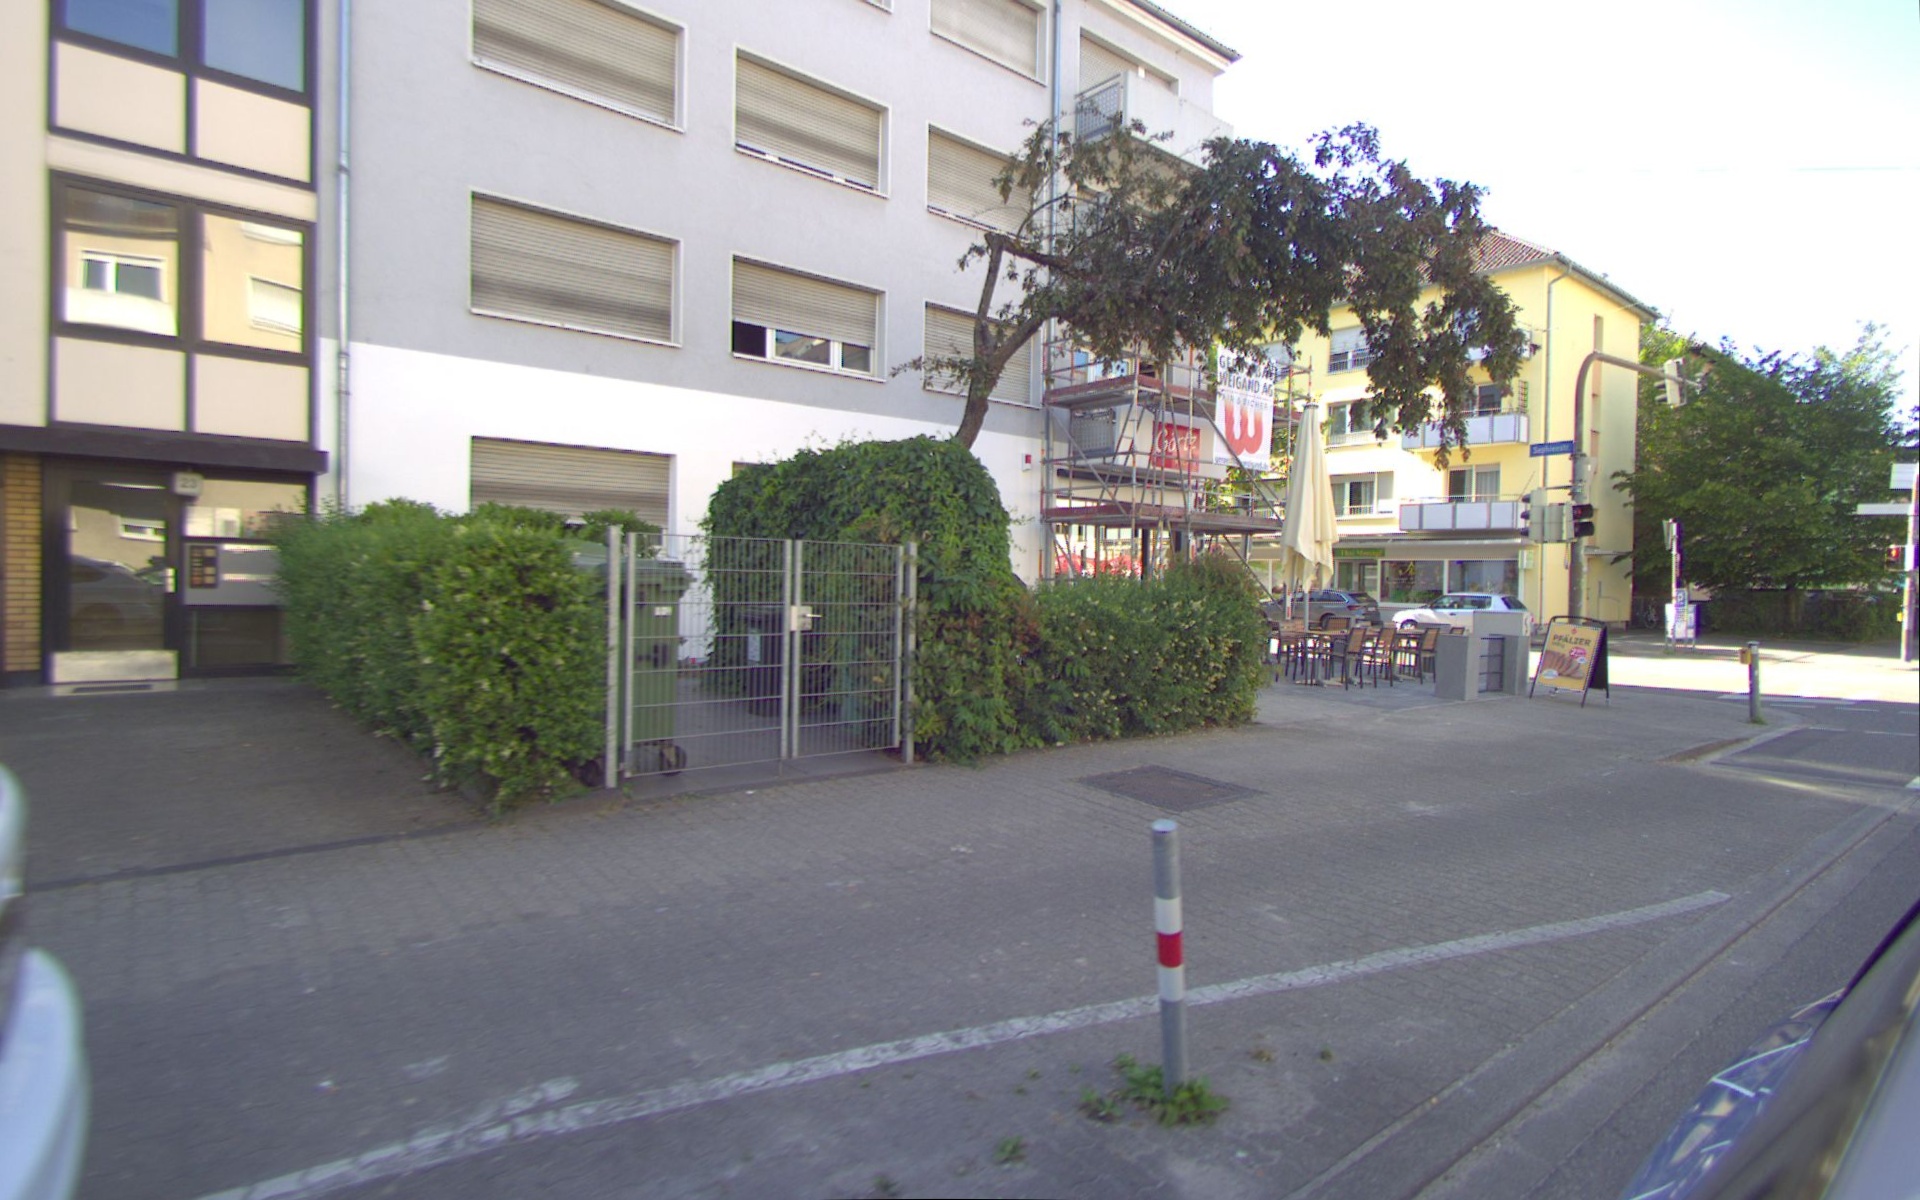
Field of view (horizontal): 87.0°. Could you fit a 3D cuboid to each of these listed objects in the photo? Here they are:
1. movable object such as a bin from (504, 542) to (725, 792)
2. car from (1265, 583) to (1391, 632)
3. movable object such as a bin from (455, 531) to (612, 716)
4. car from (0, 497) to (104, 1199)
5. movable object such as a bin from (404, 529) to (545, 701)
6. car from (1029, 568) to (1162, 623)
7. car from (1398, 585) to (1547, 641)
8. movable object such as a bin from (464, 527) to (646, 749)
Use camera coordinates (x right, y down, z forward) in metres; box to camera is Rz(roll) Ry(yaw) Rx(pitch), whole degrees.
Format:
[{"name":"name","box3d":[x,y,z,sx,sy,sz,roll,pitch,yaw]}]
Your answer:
[{"name":"movable object such as a bin","box3d":[-2.183,0.354,6.365,1.138,1.372,0.831,5,3,41]},{"name":"car","box3d":[12.137,0.204,33.549,1.551,1.500,3.644,0,2,-39]},{"name":"movable object such as a bin","box3d":[-3.653,0.162,8.665,1.086,1.456,0.831,3,2,41]},{"name":"car","box3d":[-3.045,0.617,0.372,4.121,1.500,1.743,0,2,-40]},{"name":"movable object such as a bin","box3d":[-4.609,0.107,9.598,1.086,1.509,0.831,3,2,41]},{"name":"car","box3d":[4.972,-0.221,37.681,1.832,1.884,4.960,2,0,-39]},{"name":"car","box3d":[15.073,0.338,29.907,1.454,1.500,3.644,0,1,-39]},{"name":"movable object such as a bin","box3d":[-2.992,0.226,7.467,1.086,1.492,0.831,3,2,41]}]
